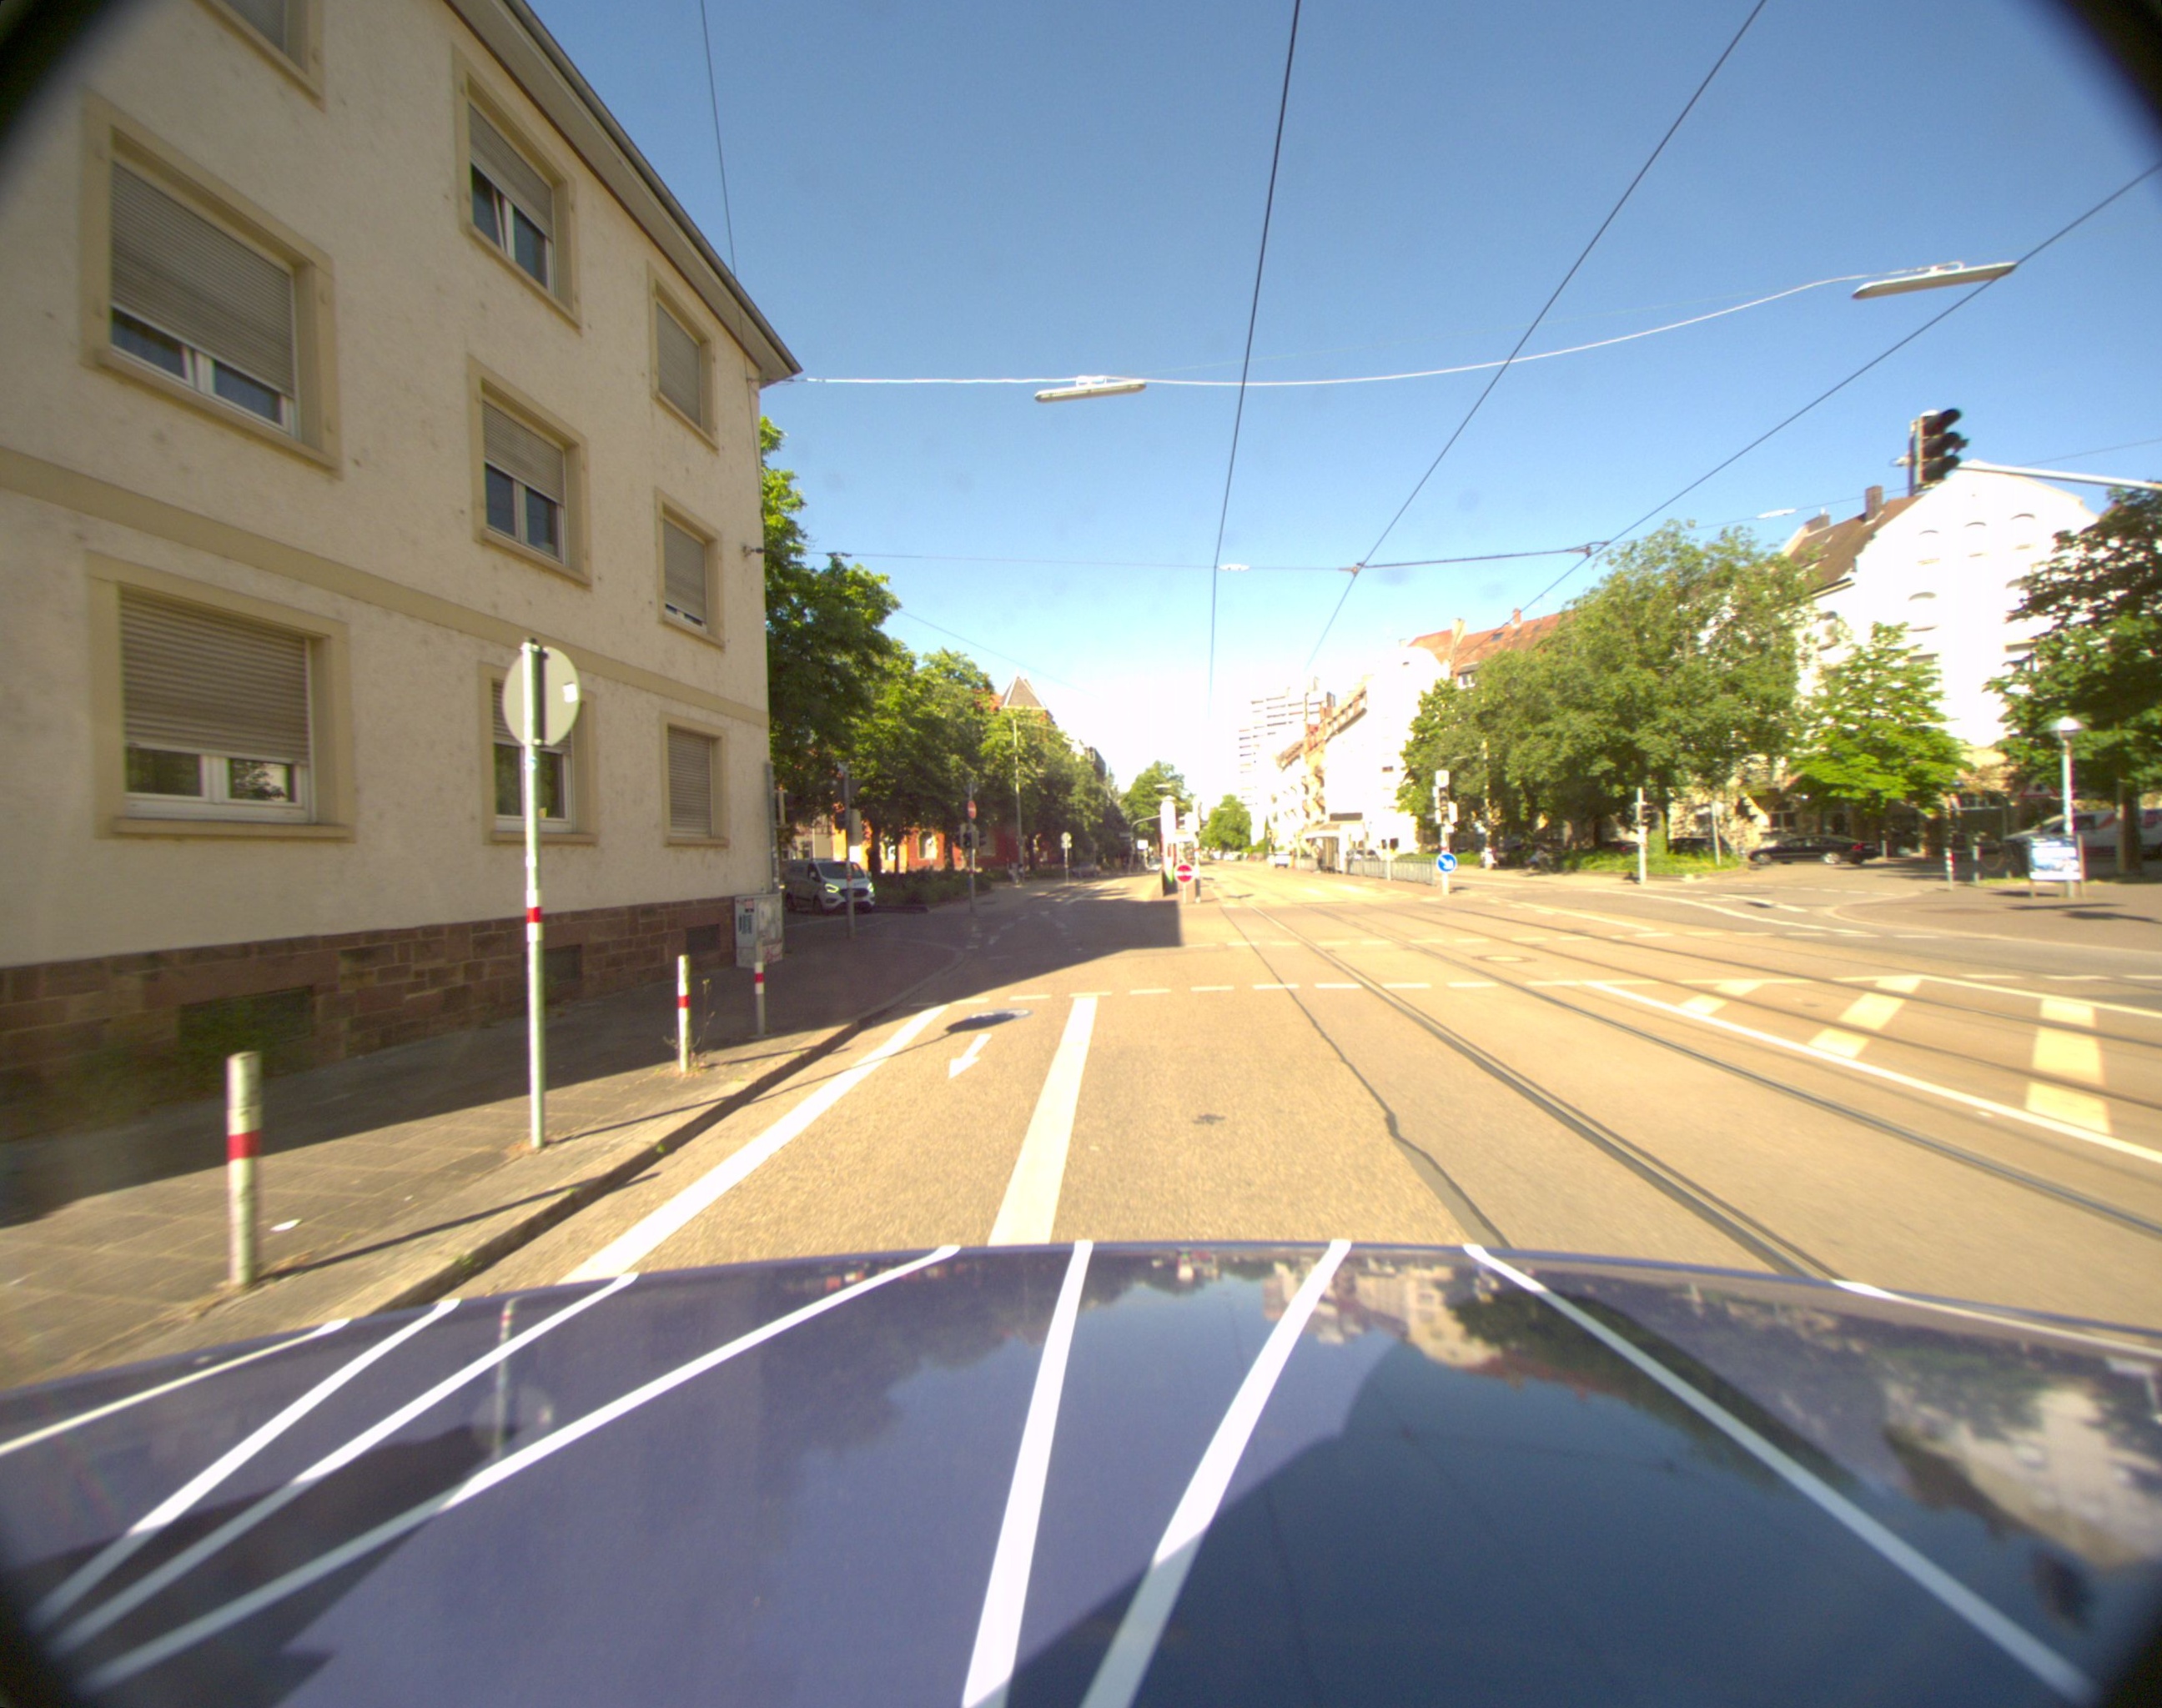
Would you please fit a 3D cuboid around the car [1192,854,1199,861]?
[{"bbox_3d":[38.083,1.107,253.027,1.997,2.002,4.002,-4,0,8],"label":"car"}]

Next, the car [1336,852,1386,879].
[{"bbox_3d":[17.582,0.676,47.933,1.901,1.608,4.266,-1,0,6],"label":"car"}]

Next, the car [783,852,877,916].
[{"bbox_3d":[-9.424,1.131,28.234,1.690,2.079,4.747,-4,0,-38],"label":"car"}]

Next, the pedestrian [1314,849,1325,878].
[{"bbox_3d":[14.886,0.573,47.459,0.466,1.774,0.674,-3,0,6],"label":"pedestrian"}]

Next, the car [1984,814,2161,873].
[{"bbox_3d":[39.068,-0.408,29.452,4.845,1.930,1.929,-4,0,35],"label":"car"}]

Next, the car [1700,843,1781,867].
[{"bbox_3d":[34.648,0.051,40.014,1.468,1.089,3.145,-4,0,-1],"label":"car"}]

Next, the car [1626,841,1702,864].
[{"bbox_3d":[34.403,-0.071,44.930,1.527,1.208,3.455,-4,0,-7],"label":"car"}]

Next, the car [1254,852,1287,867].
[{"bbox_3d":[25.454,0.745,101.977,3.884,1.580,1.817,-4,4,3],"label":"car"}]

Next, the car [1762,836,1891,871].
[{"bbox_3d":[35.085,-0.026,35.906,1.741,1.533,4.011,-1,0,-16],"label":"car"}]

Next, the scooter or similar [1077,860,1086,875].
[{"bbox_3d":[0.031,1.144,63.822,0.519,1.241,1.277,-3,-2,8],"label":"scooter or similar"}]

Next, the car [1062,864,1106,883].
[{"bbox_3d":[0.310,1.790,69.692,3.618,1.390,1.723,-4,0,-33],"label":"car"}]

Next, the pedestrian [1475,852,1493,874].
[{"bbox_3d":[24.229,0.535,45.662,0.658,1.274,0.724,-4,0,7],"label":"pedestrian"}]

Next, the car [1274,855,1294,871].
[{"bbox_3d":[20.430,0.853,76.535,1.693,1.531,3.801,1,1,11],"label":"car"}]
